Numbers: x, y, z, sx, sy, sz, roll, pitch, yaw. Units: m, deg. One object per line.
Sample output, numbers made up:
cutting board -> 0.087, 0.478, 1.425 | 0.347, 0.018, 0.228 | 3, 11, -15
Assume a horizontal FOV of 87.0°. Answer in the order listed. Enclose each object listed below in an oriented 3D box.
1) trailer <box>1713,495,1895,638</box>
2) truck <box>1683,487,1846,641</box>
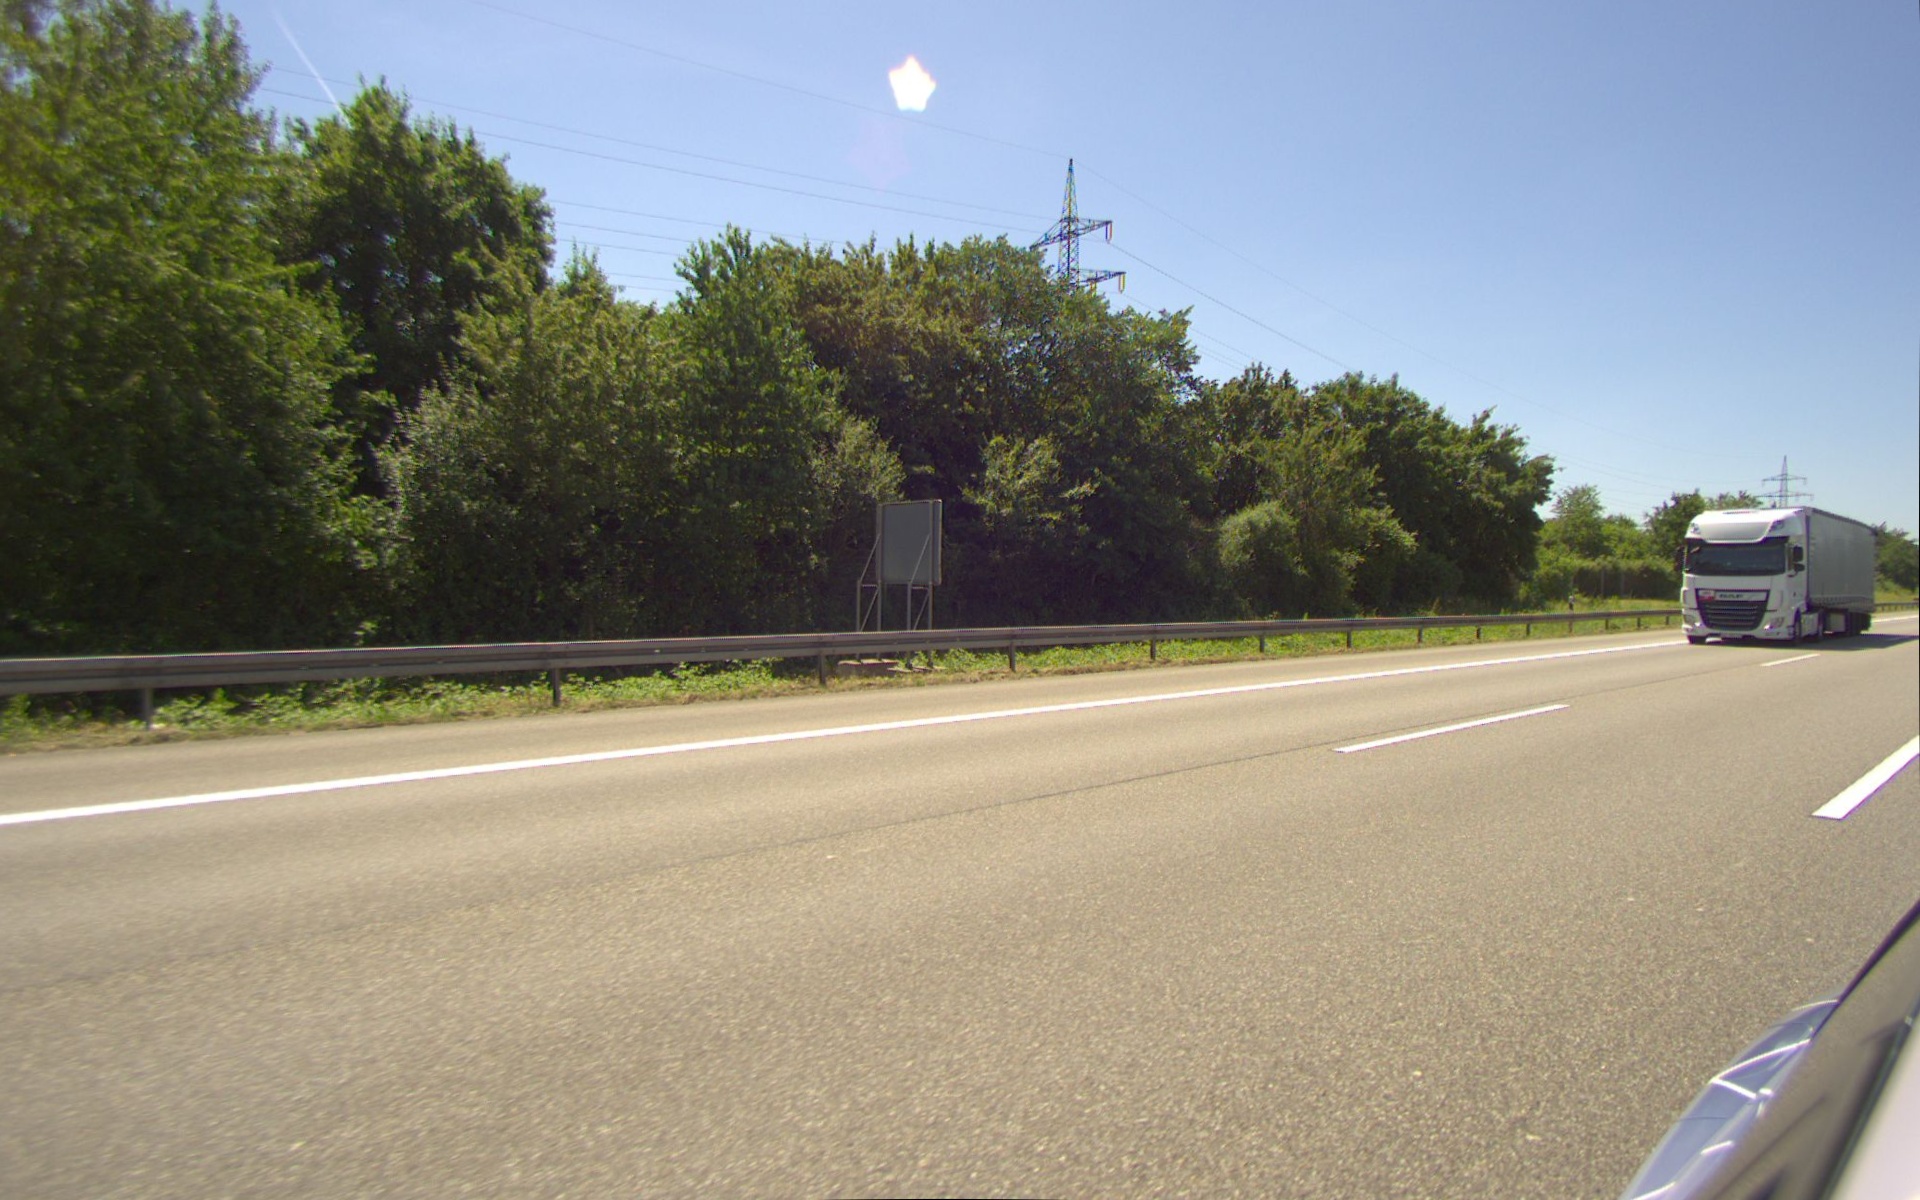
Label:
trailer -> 29.223, -1.050, 34.702 | 12.892, 4.158, 2.741 | 0, 1, -41
truck -> 24.164, -1.013, 30.313 | 6.017, 4.171, 2.741 | 0, 1, -41
